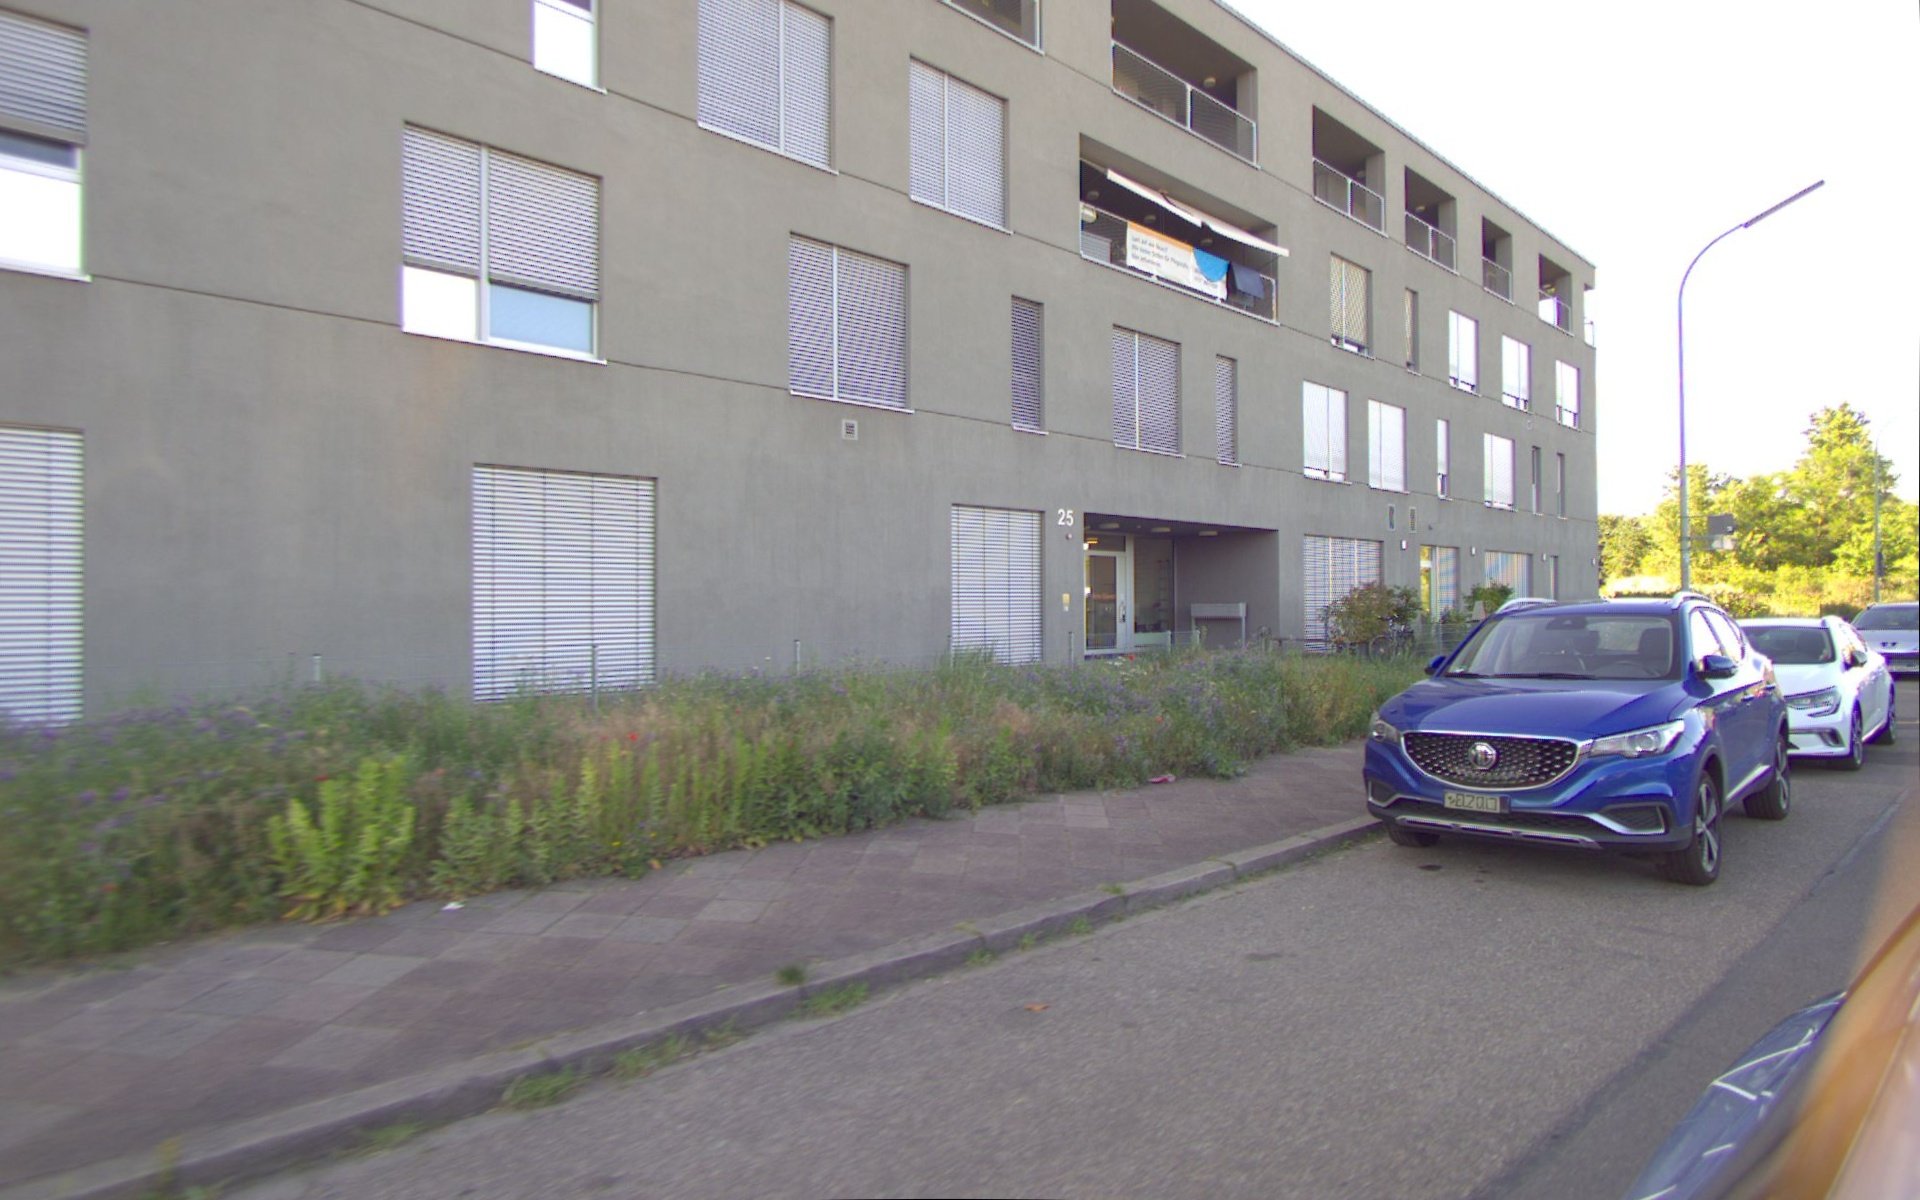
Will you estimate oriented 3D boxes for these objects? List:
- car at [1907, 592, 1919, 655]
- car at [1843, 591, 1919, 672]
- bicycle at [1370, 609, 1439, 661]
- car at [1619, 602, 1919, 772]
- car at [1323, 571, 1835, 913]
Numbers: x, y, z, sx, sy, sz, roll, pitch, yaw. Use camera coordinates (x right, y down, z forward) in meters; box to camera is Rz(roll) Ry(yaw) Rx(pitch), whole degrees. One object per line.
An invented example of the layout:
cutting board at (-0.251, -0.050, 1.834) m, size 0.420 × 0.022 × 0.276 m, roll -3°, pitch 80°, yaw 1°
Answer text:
car at (26.576, 0.556, 26.681) m, size 4.718 × 1.587 × 1.748 m, roll 0°, pitch -2°, yaw -40°
car at (19.801, 0.594, 20.944) m, size 4.082 × 1.546 × 1.709 m, roll 0°, pitch -2°, yaw -41°
bicycle at (9.647, 0.741, 21.916) m, size 1.808 × 1.075 × 0.553 m, roll 0°, pitch -1°, yaw -38°
car at (8.858, 0.783, 10.894) m, size 4.506 × 1.448 × 1.747 m, roll 0°, pitch -2°, yaw -41°
car at (4.520, 0.702, 7.044) m, size 4.549 × 1.620 × 1.818 m, roll 0°, pitch -2°, yaw -43°
